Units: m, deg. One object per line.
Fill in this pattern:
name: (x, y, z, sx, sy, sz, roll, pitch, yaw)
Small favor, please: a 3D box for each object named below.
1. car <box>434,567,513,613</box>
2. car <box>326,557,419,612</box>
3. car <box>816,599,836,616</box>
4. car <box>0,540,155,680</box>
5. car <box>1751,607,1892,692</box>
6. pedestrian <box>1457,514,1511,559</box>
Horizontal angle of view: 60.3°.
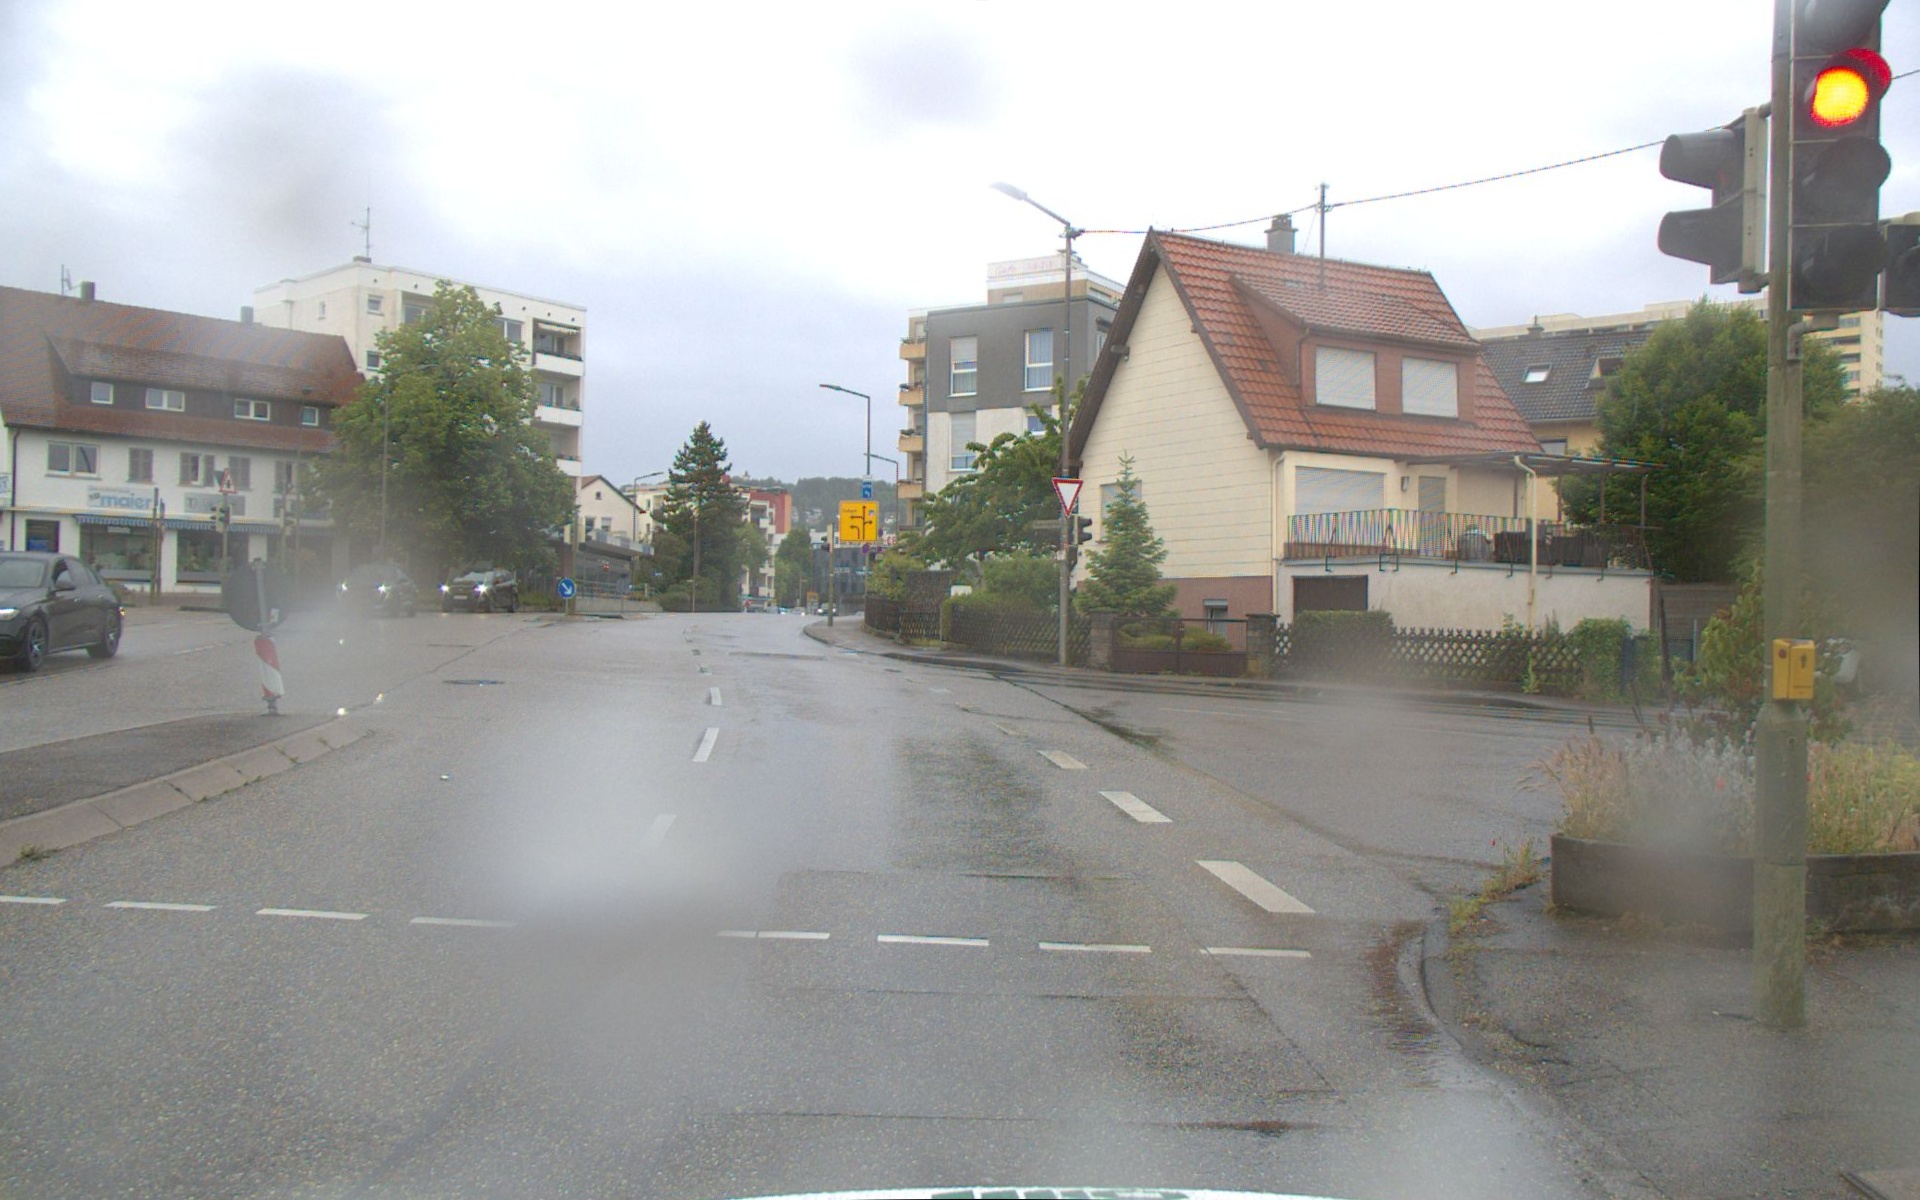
car: (-18.057, -0.340, 61.536, 1.841, 1.625, 4.182, 1, 0, -2)
car: (-17.285, -0.435, 48.827, 1.931, 1.538, 3.990, 1, 0, -11)
car: (-14.673, 0.848, 181.358, 1.956, 1.768, 5.173, 1, 0, -7)
car: (-12.482, 0.111, 21.678, 1.955, 1.653, 4.533, 1, 0, -6)
car: (15.619, 0.859, 29.880, 1.780, 1.386, 3.986, 1, 0, 35)
pedestrian: (11.149, -1.340, 35.180, 0.902, 0.898, 0.632, 1, -2, -20)
